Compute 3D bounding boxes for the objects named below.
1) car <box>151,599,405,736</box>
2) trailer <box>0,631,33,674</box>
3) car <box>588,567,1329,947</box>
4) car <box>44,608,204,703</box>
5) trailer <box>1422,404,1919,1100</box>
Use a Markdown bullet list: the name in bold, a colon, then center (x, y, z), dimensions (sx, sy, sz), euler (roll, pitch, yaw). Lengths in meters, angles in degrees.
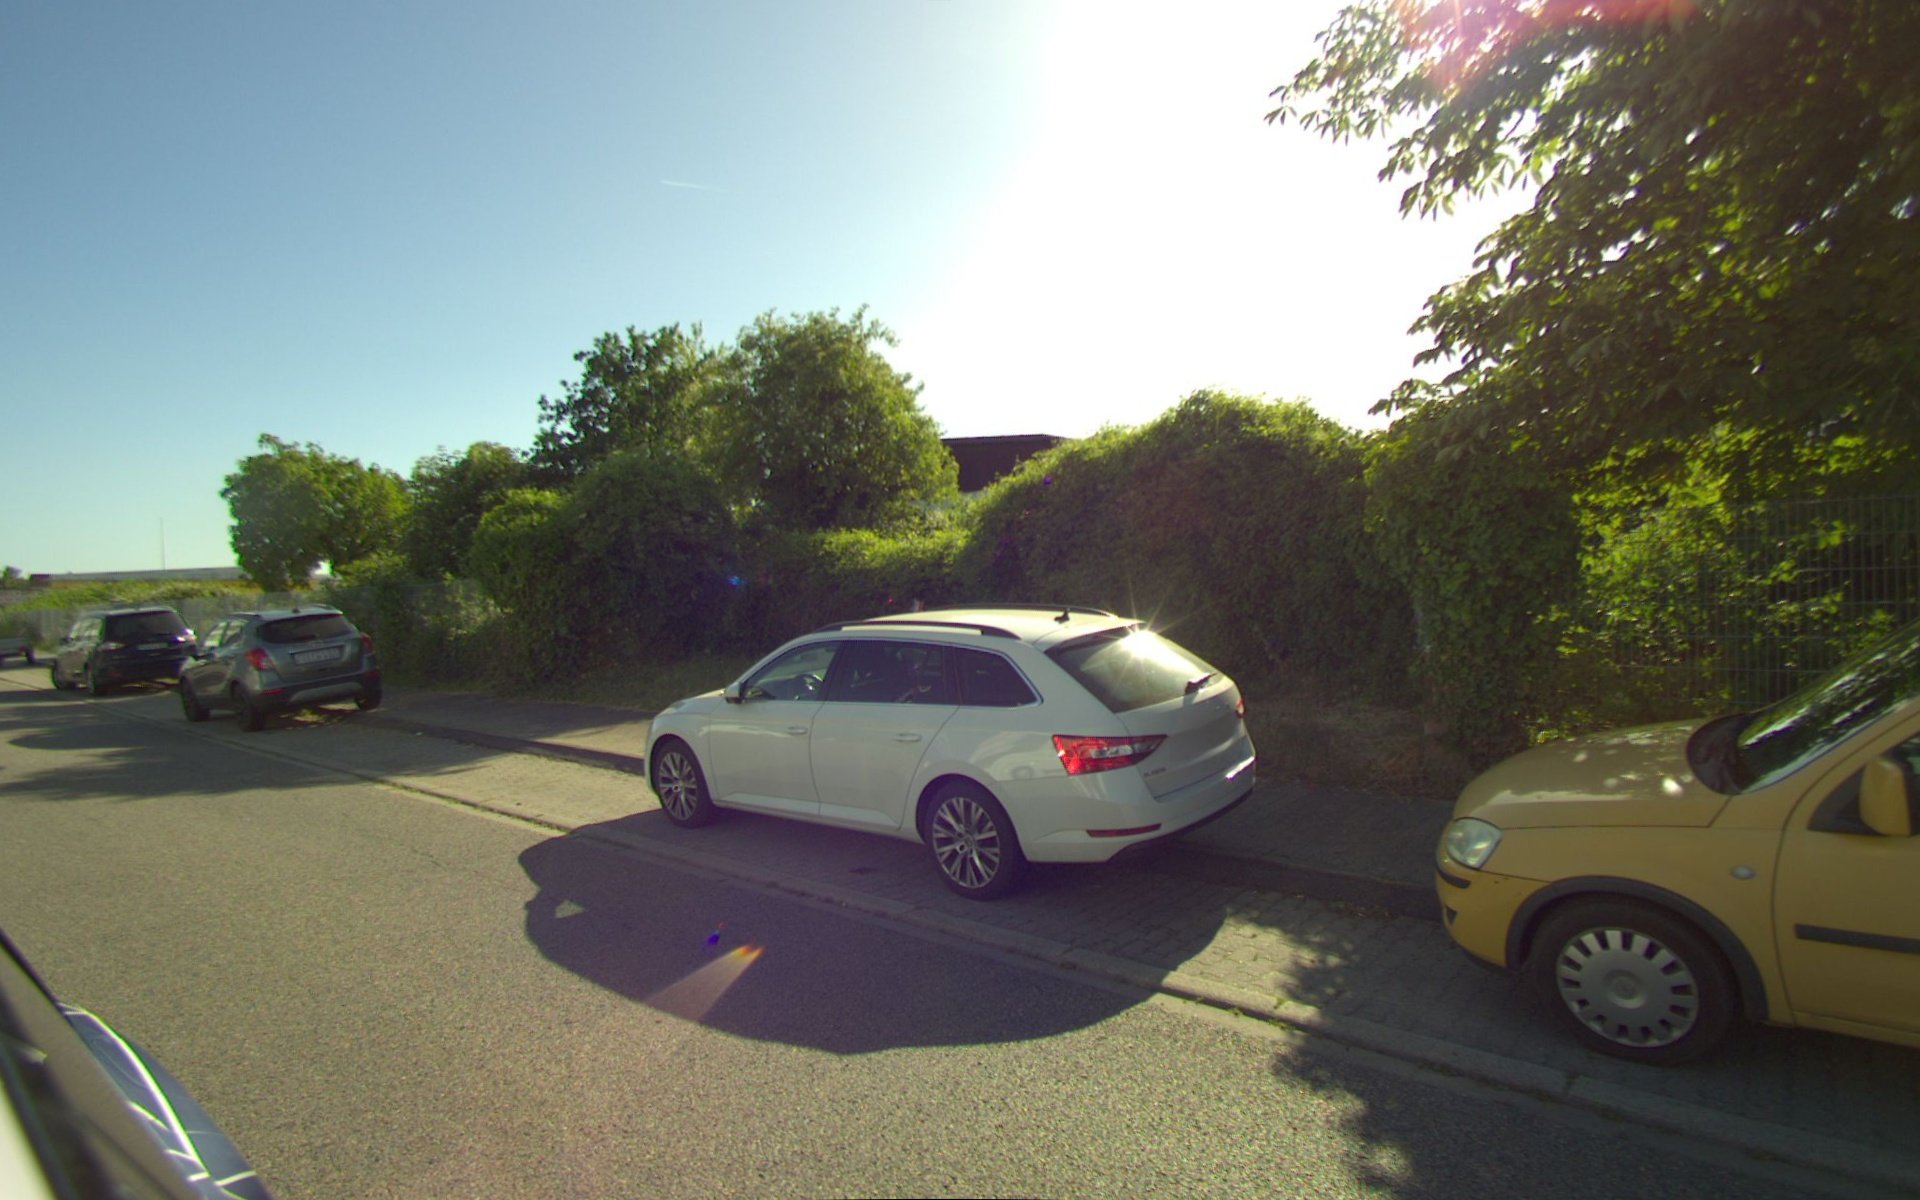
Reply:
- **car**: center (-10.590, 0.956, 15.600), dimensions (4.458, 1.674, 1.890), euler (-2, 3, 39)
- **trailer**: center (-32.606, 1.785, 34.238), dimensions (3.077, 1.364, 1.461), euler (-1, 1, 41)
- **car**: center (-0.351, 0.740, 6.930), dimensions (5.023, 1.604, 1.888), euler (-2, 4, 42)
- **car**: center (-18.355, 1.166, 22.136), dimensions (4.798, 1.743, 1.774), euler (-2, 3, 40)
- **trailer**: center (4.012, 0.411, 3.008), dimensions (4.413, 1.956, 1.973), euler (-1, -1, 41)
